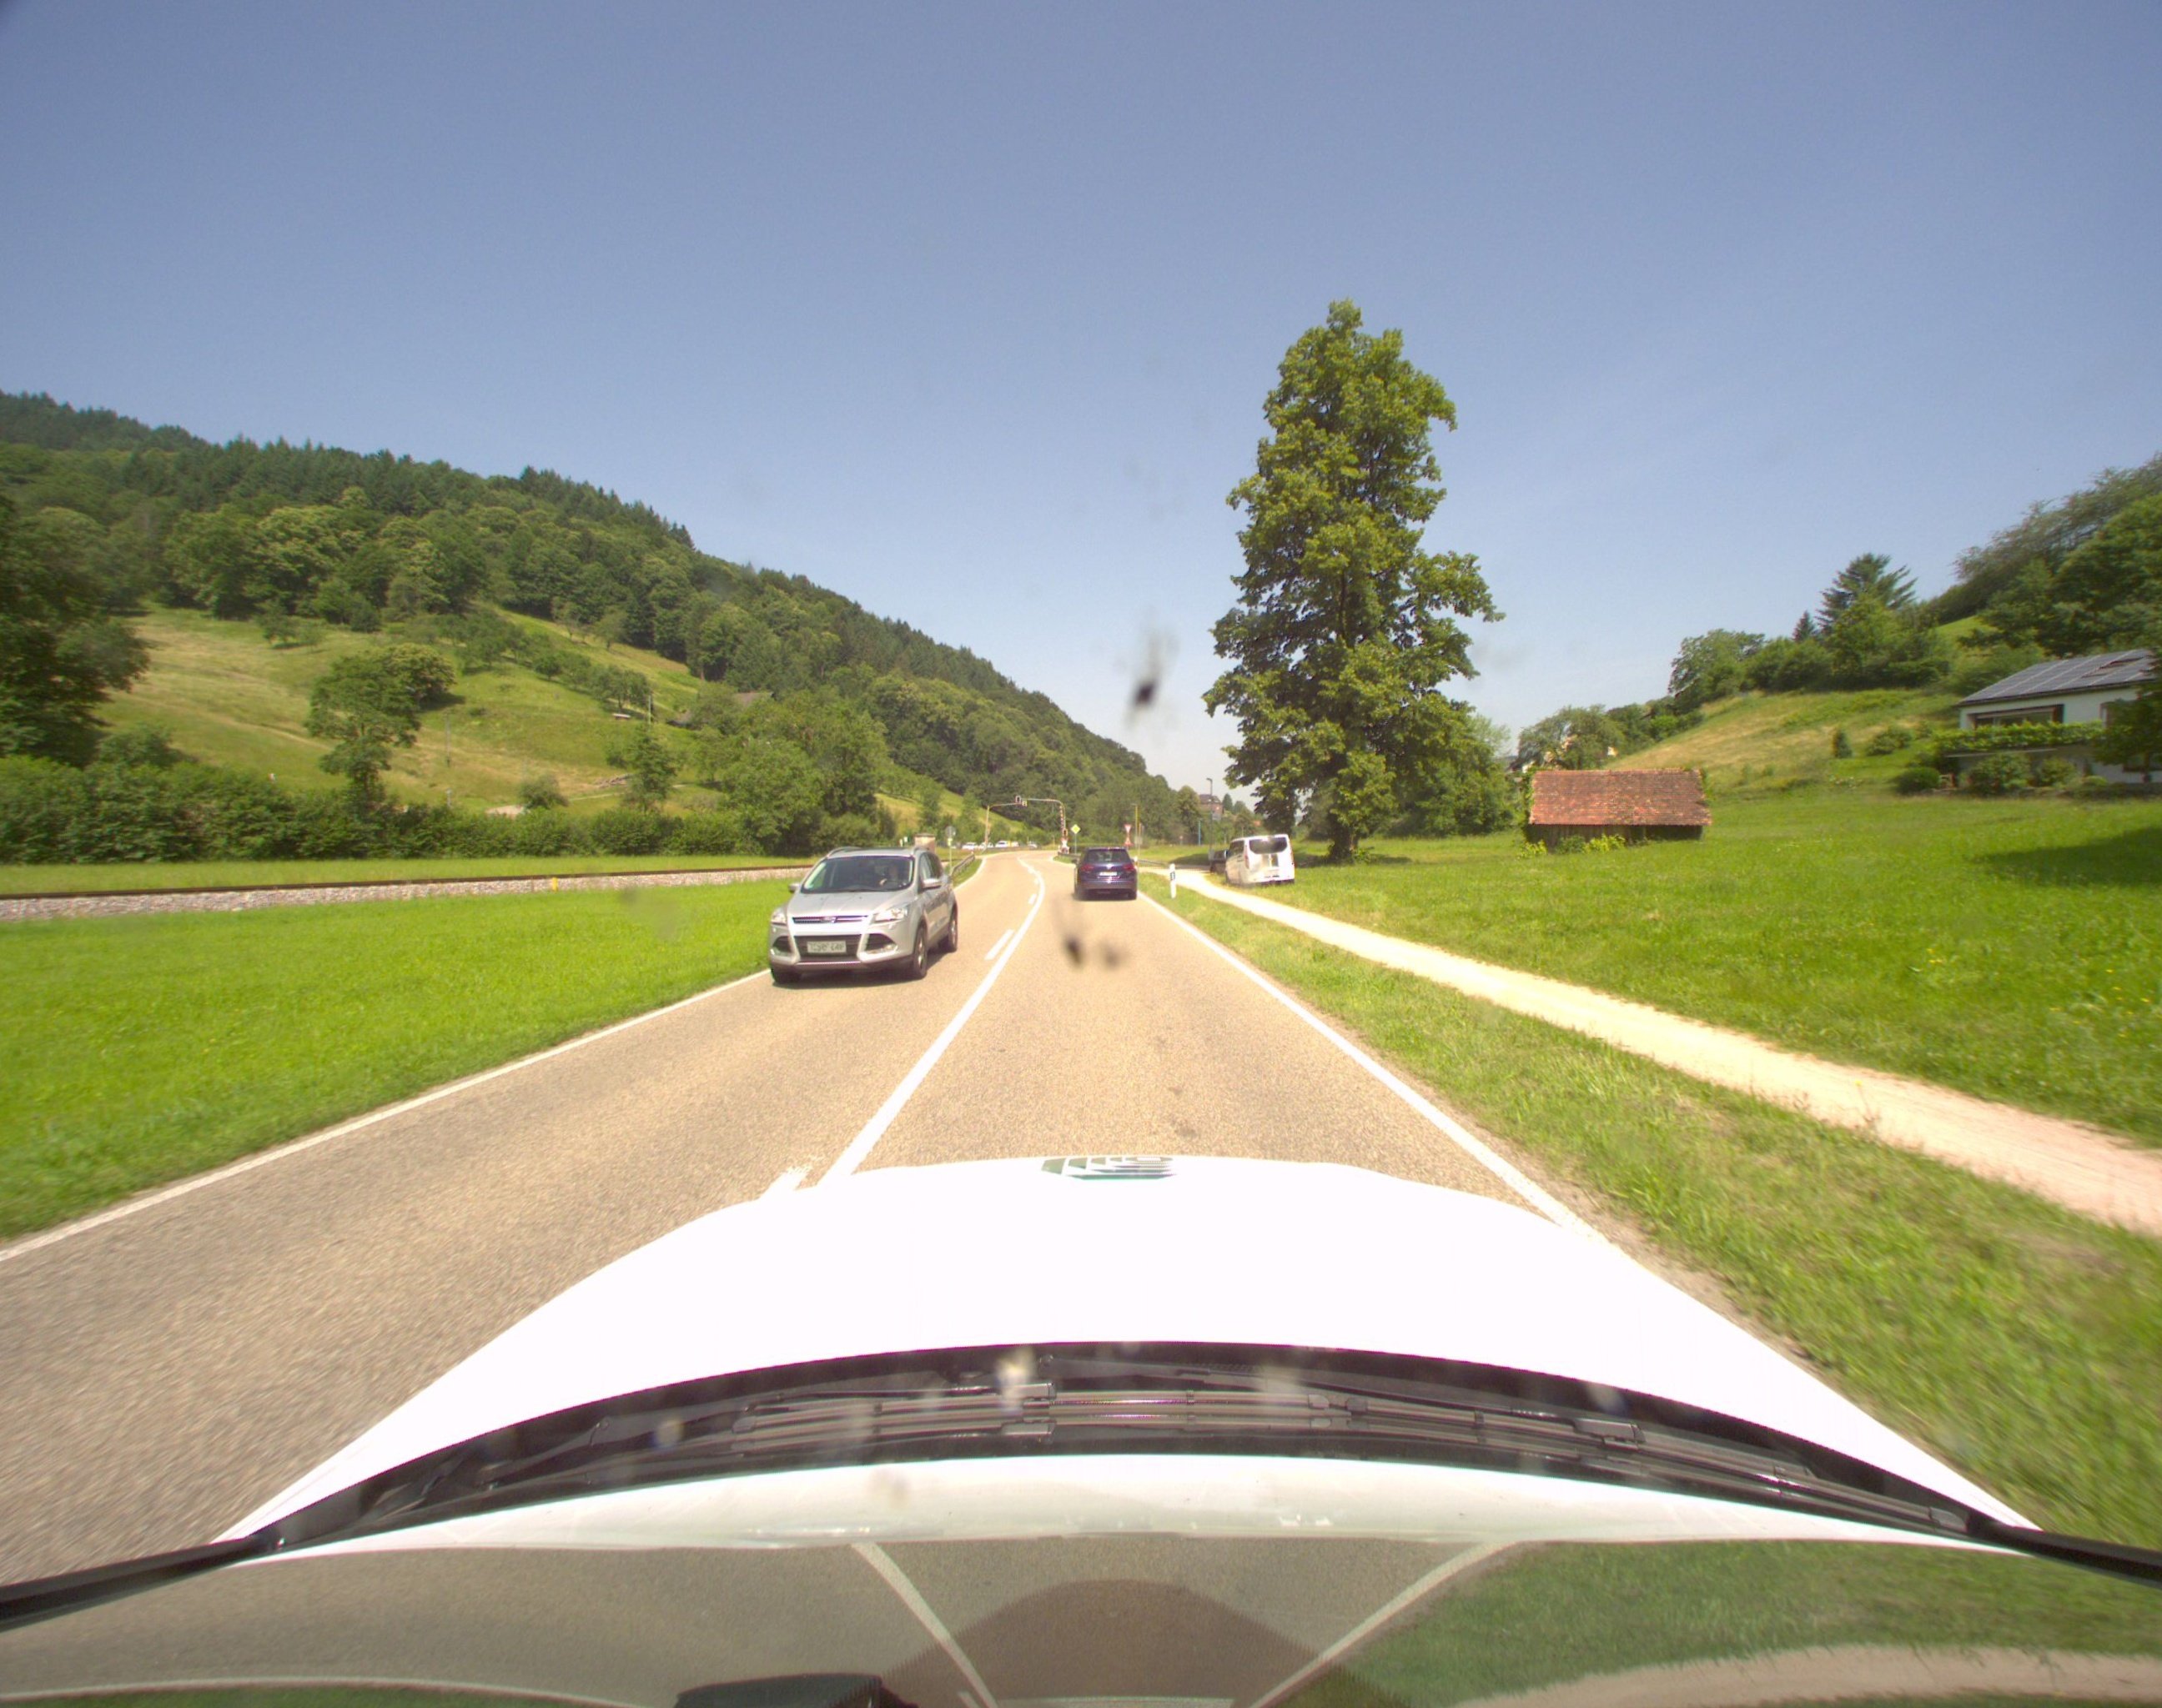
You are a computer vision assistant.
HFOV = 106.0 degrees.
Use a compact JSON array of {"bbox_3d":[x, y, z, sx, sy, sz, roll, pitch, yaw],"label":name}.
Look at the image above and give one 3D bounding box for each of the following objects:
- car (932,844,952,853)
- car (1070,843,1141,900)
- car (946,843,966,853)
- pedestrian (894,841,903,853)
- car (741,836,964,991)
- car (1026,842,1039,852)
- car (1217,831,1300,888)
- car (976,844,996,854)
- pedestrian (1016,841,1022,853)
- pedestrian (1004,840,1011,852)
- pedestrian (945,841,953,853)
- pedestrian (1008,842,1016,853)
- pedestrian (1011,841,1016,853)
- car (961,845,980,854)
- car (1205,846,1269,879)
[{"bbox_3d":[-23.416,-0.929,137.256,1.982,1.500,4.532,-1,0,8],"label":"car"},{"bbox_3d":[0.679,0.500,25.923,1.849,1.649,4.134,-1,0,-4],"label":"car"},{"bbox_3d":[-20.973,-1.017,136.792,1.982,1.500,4.532,1,1,8],"label":"car"},{"bbox_3d":[-29.679,-1.188,132.679,1.115,1.969,0.867,-1,0,25],"label":"pedestrian"},{"bbox_3d":[-2.885,0.648,11.296,1.909,1.714,4.158,-1,1,-1],"label":"car"},{"bbox_3d":[-7.911,-1.183,134.064,1.820,1.500,4.277,-1,0,0],"label":"car"},{"bbox_3d":[6.805,0.171,31.780,1.993,1.848,4.868,-5,1,0],"label":"car"},{"bbox_3d":[-15.826,-0.854,136.296,1.981,1.641,4.916,-1,0,10],"label":"car"},{"bbox_3d":[-9.825,-1.132,129.399,0.641,1.858,0.775,-1,0,43],"label":"pedestrian"},{"bbox_3d":[-11.539,-1.201,128.072,0.781,1.842,0.702,-1,0,20],"label":"pedestrian"},{"bbox_3d":[-21.161,-1.104,130.515,0.950,1.794,1.000,-1,1,1],"label":"pedestrian"},{"bbox_3d":[-10.944,-1.022,129.308,0.761,1.796,0.799,-1,0,36],"label":"pedestrian"},{"bbox_3d":[-10.714,-1.081,129.196,0.658,1.954,0.533,-1,0,0],"label":"pedestrian"},{"bbox_3d":[-18.506,-0.803,136.402,1.982,1.500,4.532,-1,0,8],"label":"car"},{"bbox_3d":[7.682,0.432,40.471,1.676,1.457,3.697,-3,-1,-14],"label":"car"}]
